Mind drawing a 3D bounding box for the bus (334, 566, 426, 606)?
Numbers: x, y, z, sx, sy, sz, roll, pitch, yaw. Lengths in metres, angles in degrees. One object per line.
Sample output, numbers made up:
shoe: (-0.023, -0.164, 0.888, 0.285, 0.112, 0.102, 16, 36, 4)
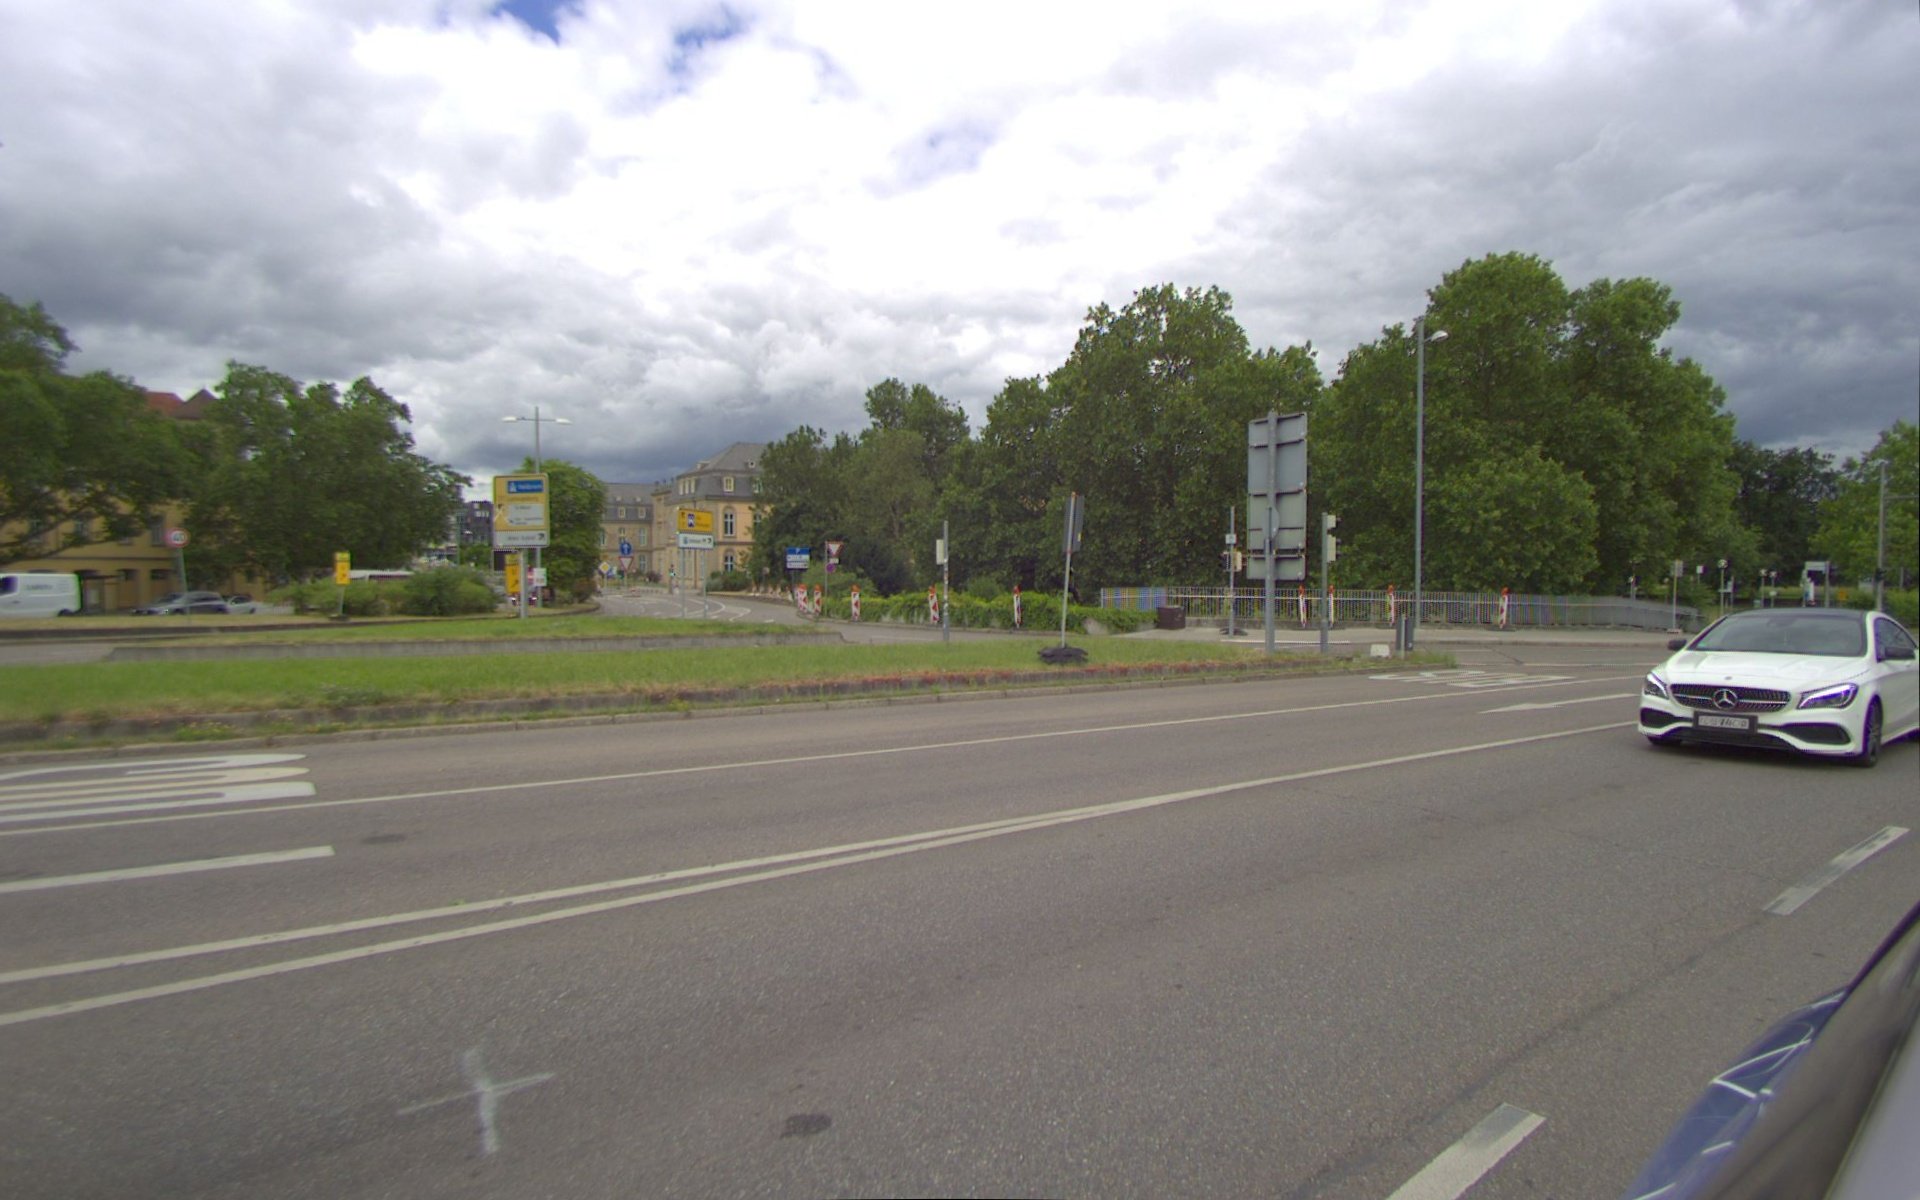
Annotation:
bus: (-44.310, -1.072, 77.655, 2.518, 2.887, 9.682, 0, 1, -7)

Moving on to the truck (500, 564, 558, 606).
truck: (-36.743, -1.289, 86.512, 2.754, 3.411, 7.647, 0, 1, -9)

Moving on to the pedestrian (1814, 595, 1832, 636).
pedestrian: (37.314, 0.661, 43.741, 0.609, 1.786, 0.479, 0, 0, -37)

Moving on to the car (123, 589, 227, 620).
car: (-37.738, 0.182, 48.819, 1.627, 1.438, 4.555, 0, 1, -2)

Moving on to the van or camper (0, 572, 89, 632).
van or camper: (-31.445, 0.042, 33.087, 1.627, 1.915, 5.156, 0, 1, -2)

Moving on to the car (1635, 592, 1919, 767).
car: (8.914, 0.654, 10.517, 4.421, 1.441, 1.724, -1, 1, -36)
